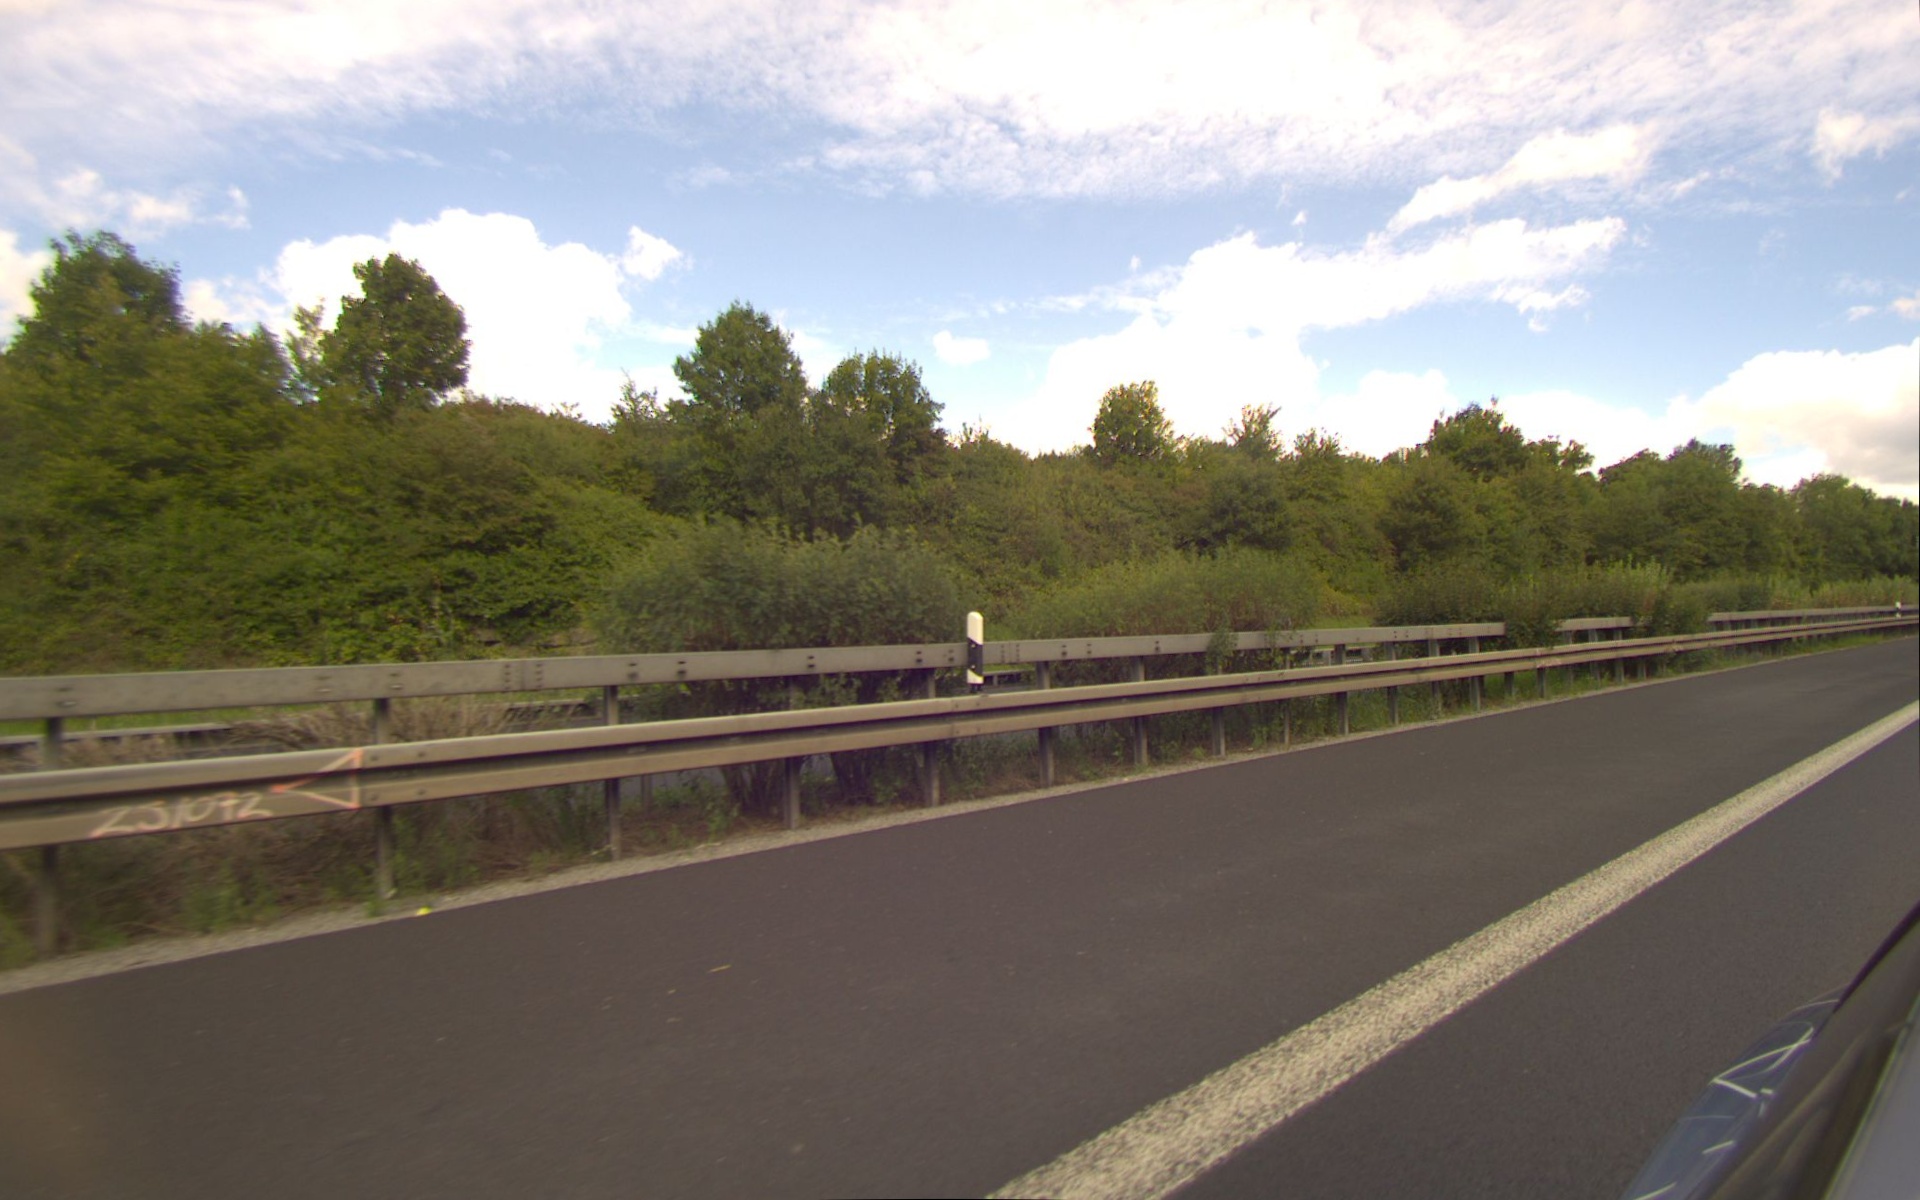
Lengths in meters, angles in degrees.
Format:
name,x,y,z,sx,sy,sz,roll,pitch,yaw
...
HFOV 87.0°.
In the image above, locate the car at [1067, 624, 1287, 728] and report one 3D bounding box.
name,x,y,z,sx,sy,sz,roll,pitch,yaw
car,4.048,1.275,18.493,4.269,1.591,1.786,0,0,-42
